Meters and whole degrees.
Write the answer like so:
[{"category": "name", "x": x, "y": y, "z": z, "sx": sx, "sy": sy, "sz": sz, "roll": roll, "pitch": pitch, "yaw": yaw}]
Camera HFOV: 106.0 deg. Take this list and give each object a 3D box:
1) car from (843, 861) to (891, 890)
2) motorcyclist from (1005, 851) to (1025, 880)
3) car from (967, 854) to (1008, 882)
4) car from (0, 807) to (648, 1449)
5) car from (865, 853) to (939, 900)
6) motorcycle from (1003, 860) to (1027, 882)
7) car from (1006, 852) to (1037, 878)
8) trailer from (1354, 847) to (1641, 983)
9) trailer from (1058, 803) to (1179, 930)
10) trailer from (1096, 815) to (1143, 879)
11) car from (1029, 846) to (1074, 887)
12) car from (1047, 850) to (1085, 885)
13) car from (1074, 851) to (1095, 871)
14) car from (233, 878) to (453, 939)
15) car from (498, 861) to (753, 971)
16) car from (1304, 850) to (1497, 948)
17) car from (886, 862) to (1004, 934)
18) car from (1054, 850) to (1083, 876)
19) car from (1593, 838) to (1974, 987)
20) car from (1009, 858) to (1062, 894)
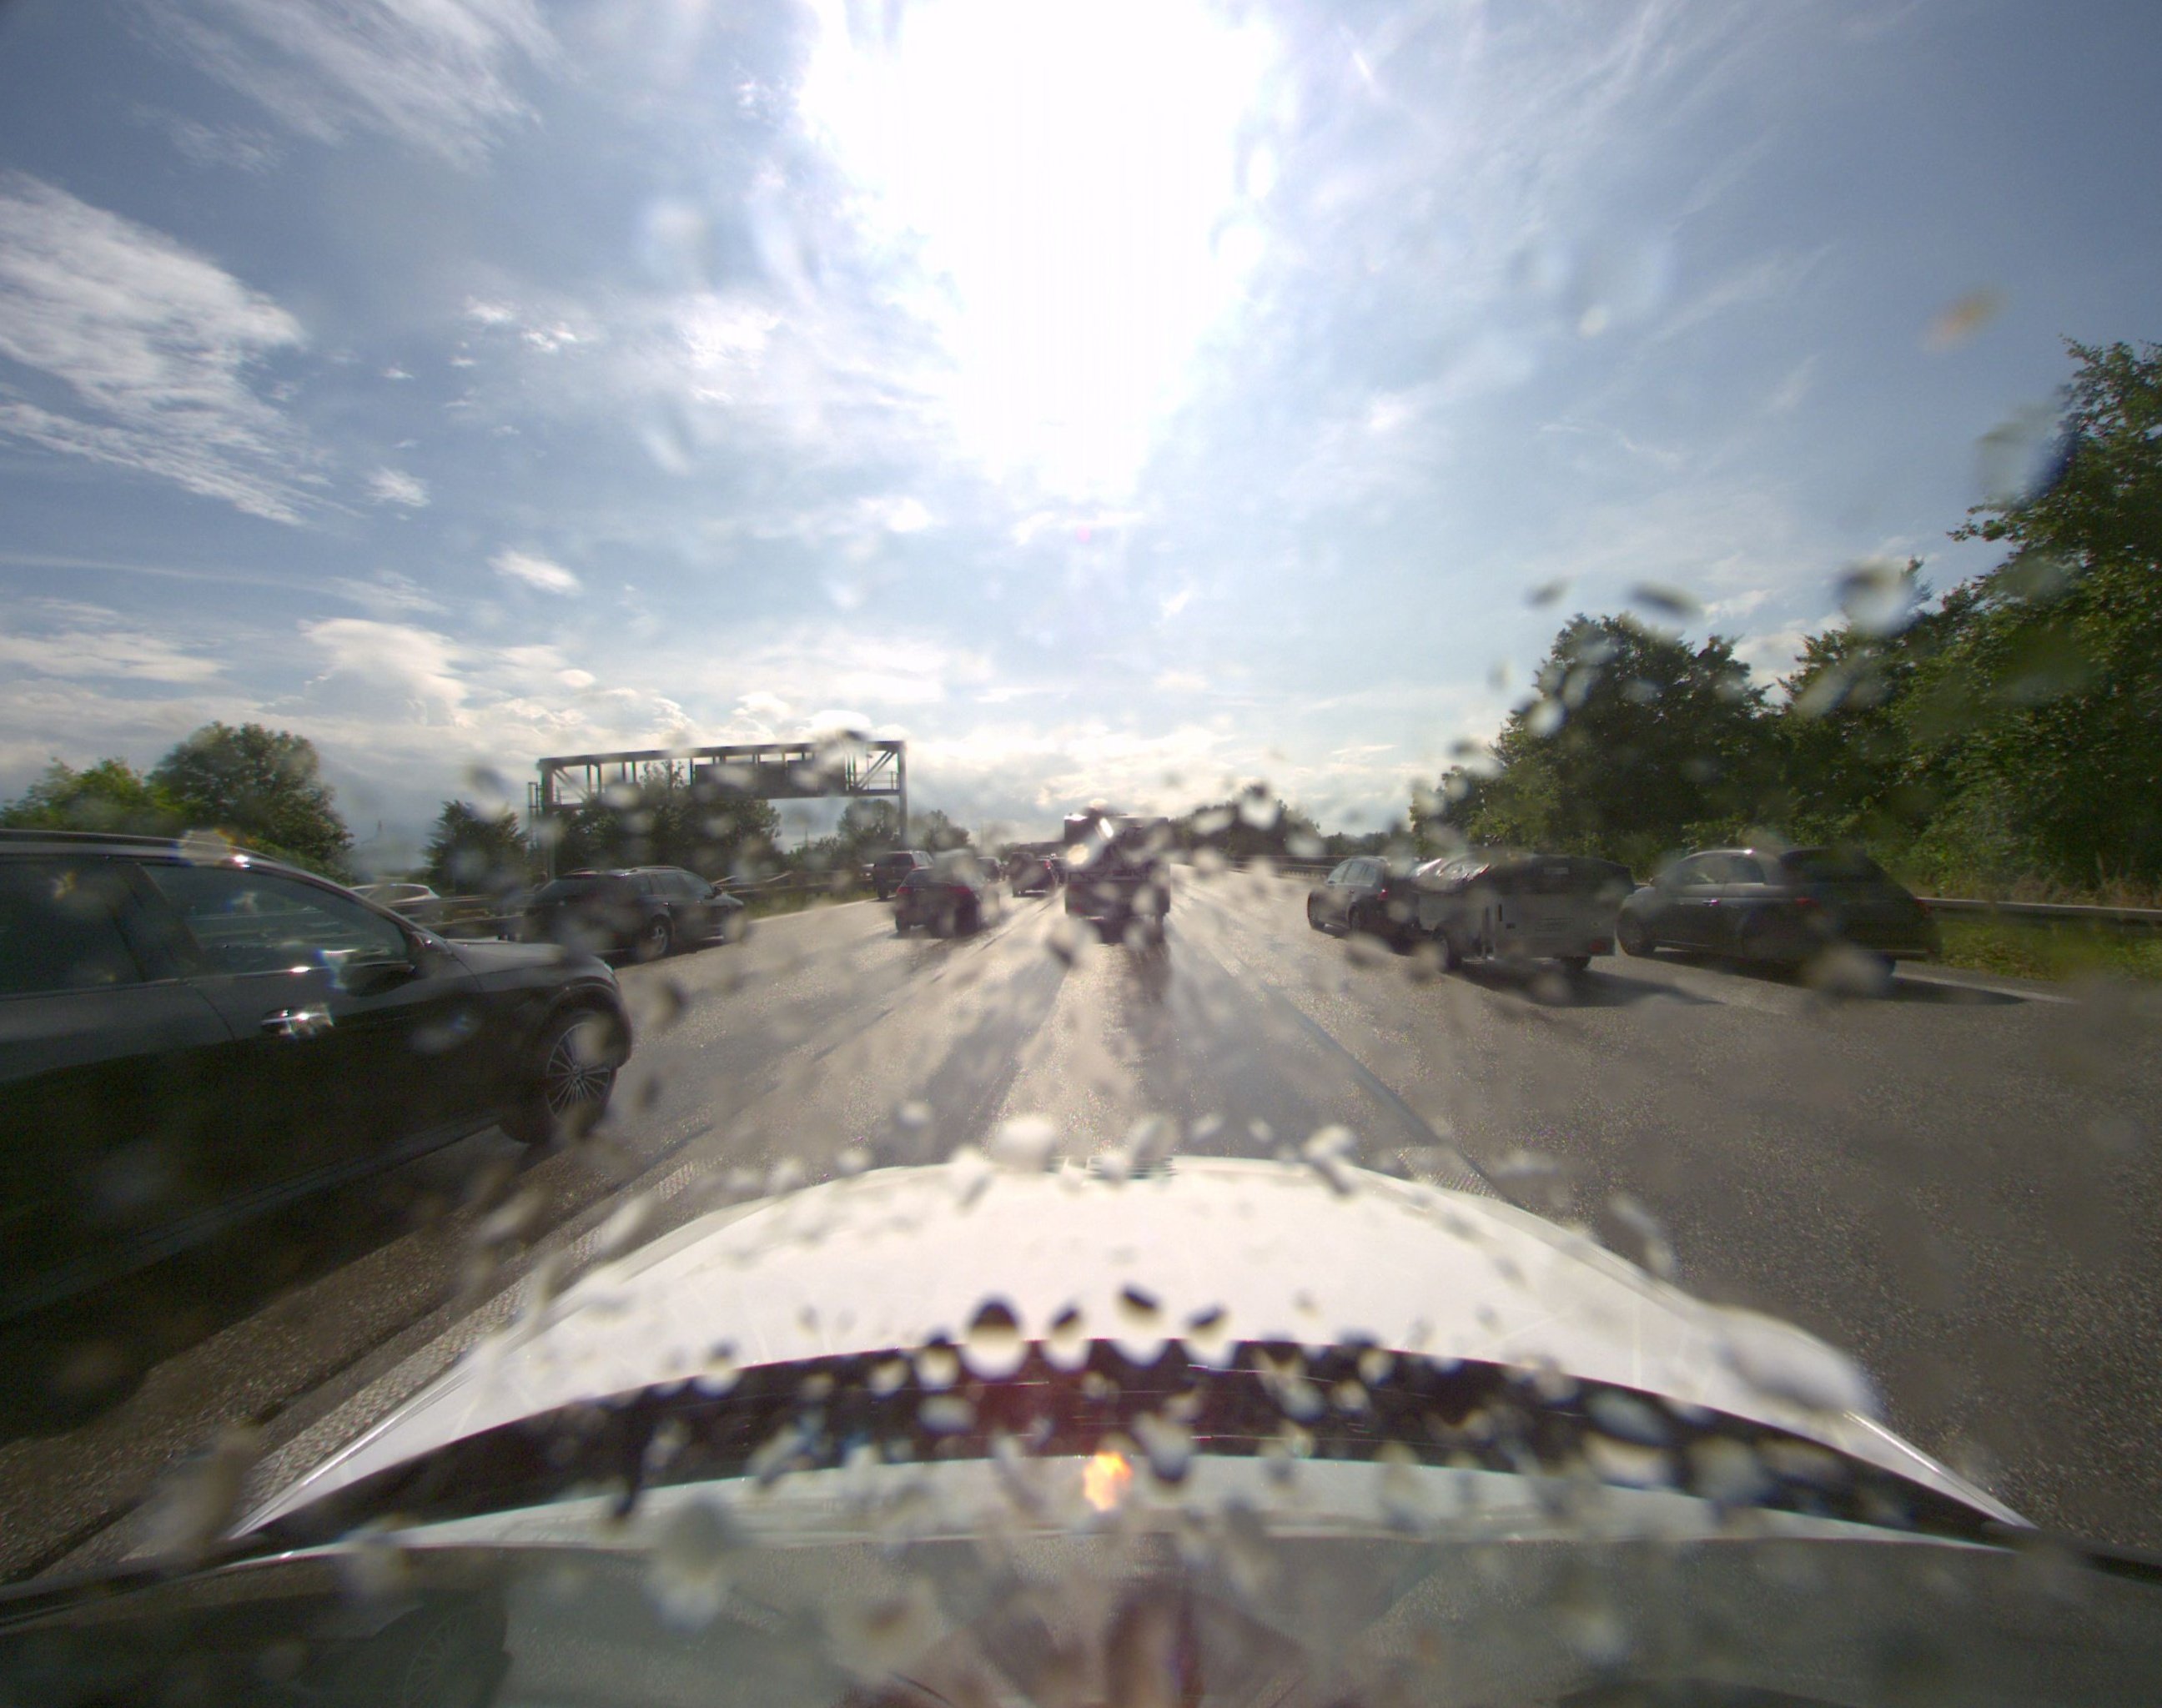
[{"category": "car", "x": -13.814, "y": 1.358, "z": 52.714, "sx": 1.987, "sy": 1.706, "sz": 4.153, "roll": -1, "pitch": 0, "yaw": -1}, {"category": "motorcyclist", "x": -3.996, "y": 0.704, "z": 49.466, "sx": 1.059, "sy": 1.718, "sz": 0.785, "roll": -1, "pitch": -1, "yaw": 2}, {"category": "car", "x": -6.066, "y": 0.891, "z": 53.092, "sx": 1.985, "sy": 1.772, "sz": 4.003, "roll": 0, "pitch": 0, "yaw": 3}, {"category": "car", "x": -3.775, "y": 0.734, "z": 2.867, "sx": 1.986, "sy": 1.661, "sz": 4.408, "roll": -1, "pitch": -1, "yaw": 2}, {"category": "car", "x": -7.051, "y": 0.853, "z": 32.493, "sx": 1.986, "sy": 1.720, "sz": 4.000, "roll": -1, "pitch": -1, "yaw": 1}, {"category": "motorcycle", "x": -3.990, "y": 1.037, "z": 49.486, "sx": 1.069, "sy": 1.271, "sz": 2.692, "roll": -1, "pitch": 0, "yaw": 3}, {"category": "car", "x": -4.849, "y": 0.883, "z": 67.270, "sx": 1.985, "sy": 2.013, "sz": 4.003, "roll": 2, "pitch": 0, "yaw": 3}, {"category": "trailer", "x": 5.246, "y": 0.670, "z": 10.979, "sx": 1.847, "sy": 1.442, "sz": 4.150, "roll": -1, "pitch": 0, "yaw": 2}, {"category": "trailer", "x": 0.863, "y": 0.276, "z": 19.349, "sx": 2.365, "sy": 2.483, "sz": 6.526, "roll": -1, "pitch": 0, "yaw": 2}, {"category": "trailer", "x": 2.845, "y": -0.457, "z": 57.666, "sx": 2.993, "sy": 4.166, "sz": 8.546, "roll": -1, "pitch": 0, "yaw": 4}, {"category": "car", "x": -1.500, "y": 0.644, "z": 42.583, "sx": 1.985, "sy": 2.014, "sz": 4.003, "roll": -1, "pitch": 0, "yaw": 3}, {"category": "car", "x": -0.858, "y": 0.808, "z": 50.384, "sx": 1.985, "sy": 2.013, "sz": 4.003, "roll": 2, "pitch": 0, "yaw": 3}, {"category": "car", "x": 0.420, "y": 0.738, "z": 85.781, "sx": 1.985, "sy": 2.014, "sz": 4.003, "roll": -1, "pitch": 0, "yaw": 3}, {"category": "car", "x": -22.301, "y": 1.587, "z": 24.988, "sx": 2.110, "sy": 1.487, "sz": 5.036, "roll": -1, "pitch": 0, "yaw": 0}, {"category": "car", "x": -7.415, "y": 0.920, "z": 13.841, "sx": 1.749, "sy": 1.516, "sz": 4.212, "roll": -1, "pitch": 0, "yaw": 3}, {"category": "car", "x": 5.371, "y": 0.681, "z": 14.358, "sx": 1.847, "sy": 1.442, "sz": 4.260, "roll": -1, "pitch": 0, "yaw": 2}, {"category": "car", "x": -2.927, "y": 0.899, "z": 18.344, "sx": 1.749, "sy": 1.387, "sz": 3.948, "roll": -1, "pitch": 0, "yaw": 3}, {"category": "car", "x": -0.969, "y": 0.708, "z": 64.967, "sx": 1.985, "sy": 2.014, "sz": 4.003, "roll": 0, "pitch": 0, "yaw": 3}, {"category": "car", "x": 8.343, "y": 0.604, "z": 10.172, "sx": 1.665, "sy": 1.482, "sz": 3.673, "roll": -1, "pitch": 0, "yaw": 2}, {"category": "car", "x": -1.827, "y": 0.876, "z": 33.734, "sx": 1.799, "sy": 1.407, "sz": 4.002, "roll": -1, "pitch": 0, "yaw": 2}]
